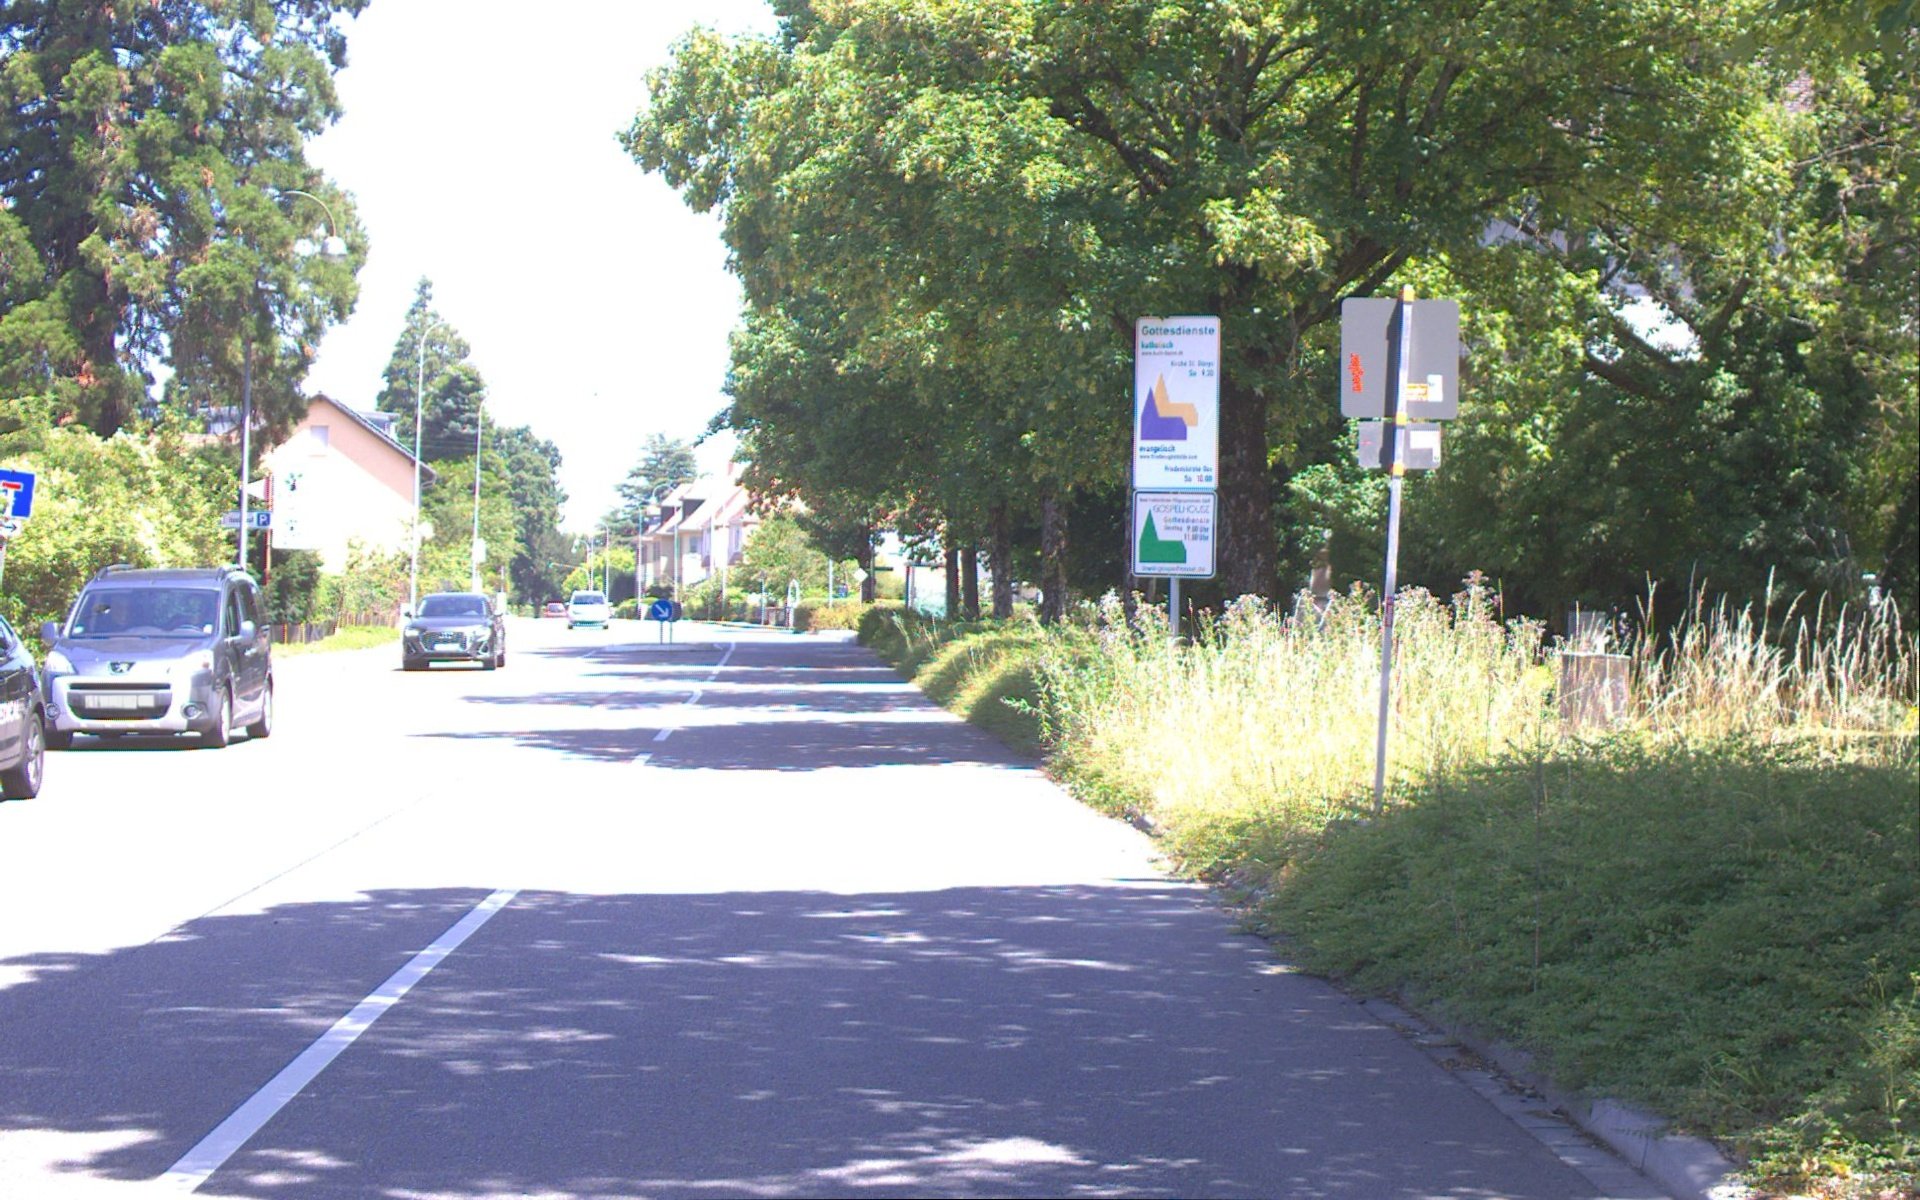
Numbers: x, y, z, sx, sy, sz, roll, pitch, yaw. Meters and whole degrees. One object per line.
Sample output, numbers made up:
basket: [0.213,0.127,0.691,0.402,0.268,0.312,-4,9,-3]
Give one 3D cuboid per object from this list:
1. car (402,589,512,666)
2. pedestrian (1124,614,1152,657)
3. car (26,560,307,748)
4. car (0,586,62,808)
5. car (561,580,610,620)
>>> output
car: [-10.270,0.544,70.439,1.793,1.531,4.315,0,0,-3]
pedestrian: [4.828,0.964,93.388,0.704,1.156,0.754,1,0,1]
car: [-7.857,0.527,34.452,1.811,1.756,4.570,0,-1,-1]
car: [-7.447,0.657,23.416,1.869,1.501,4.053,0,0,-4]
car: [-16.143,0.004,148.329,1.912,1.683,4.126,1,0,-3]
